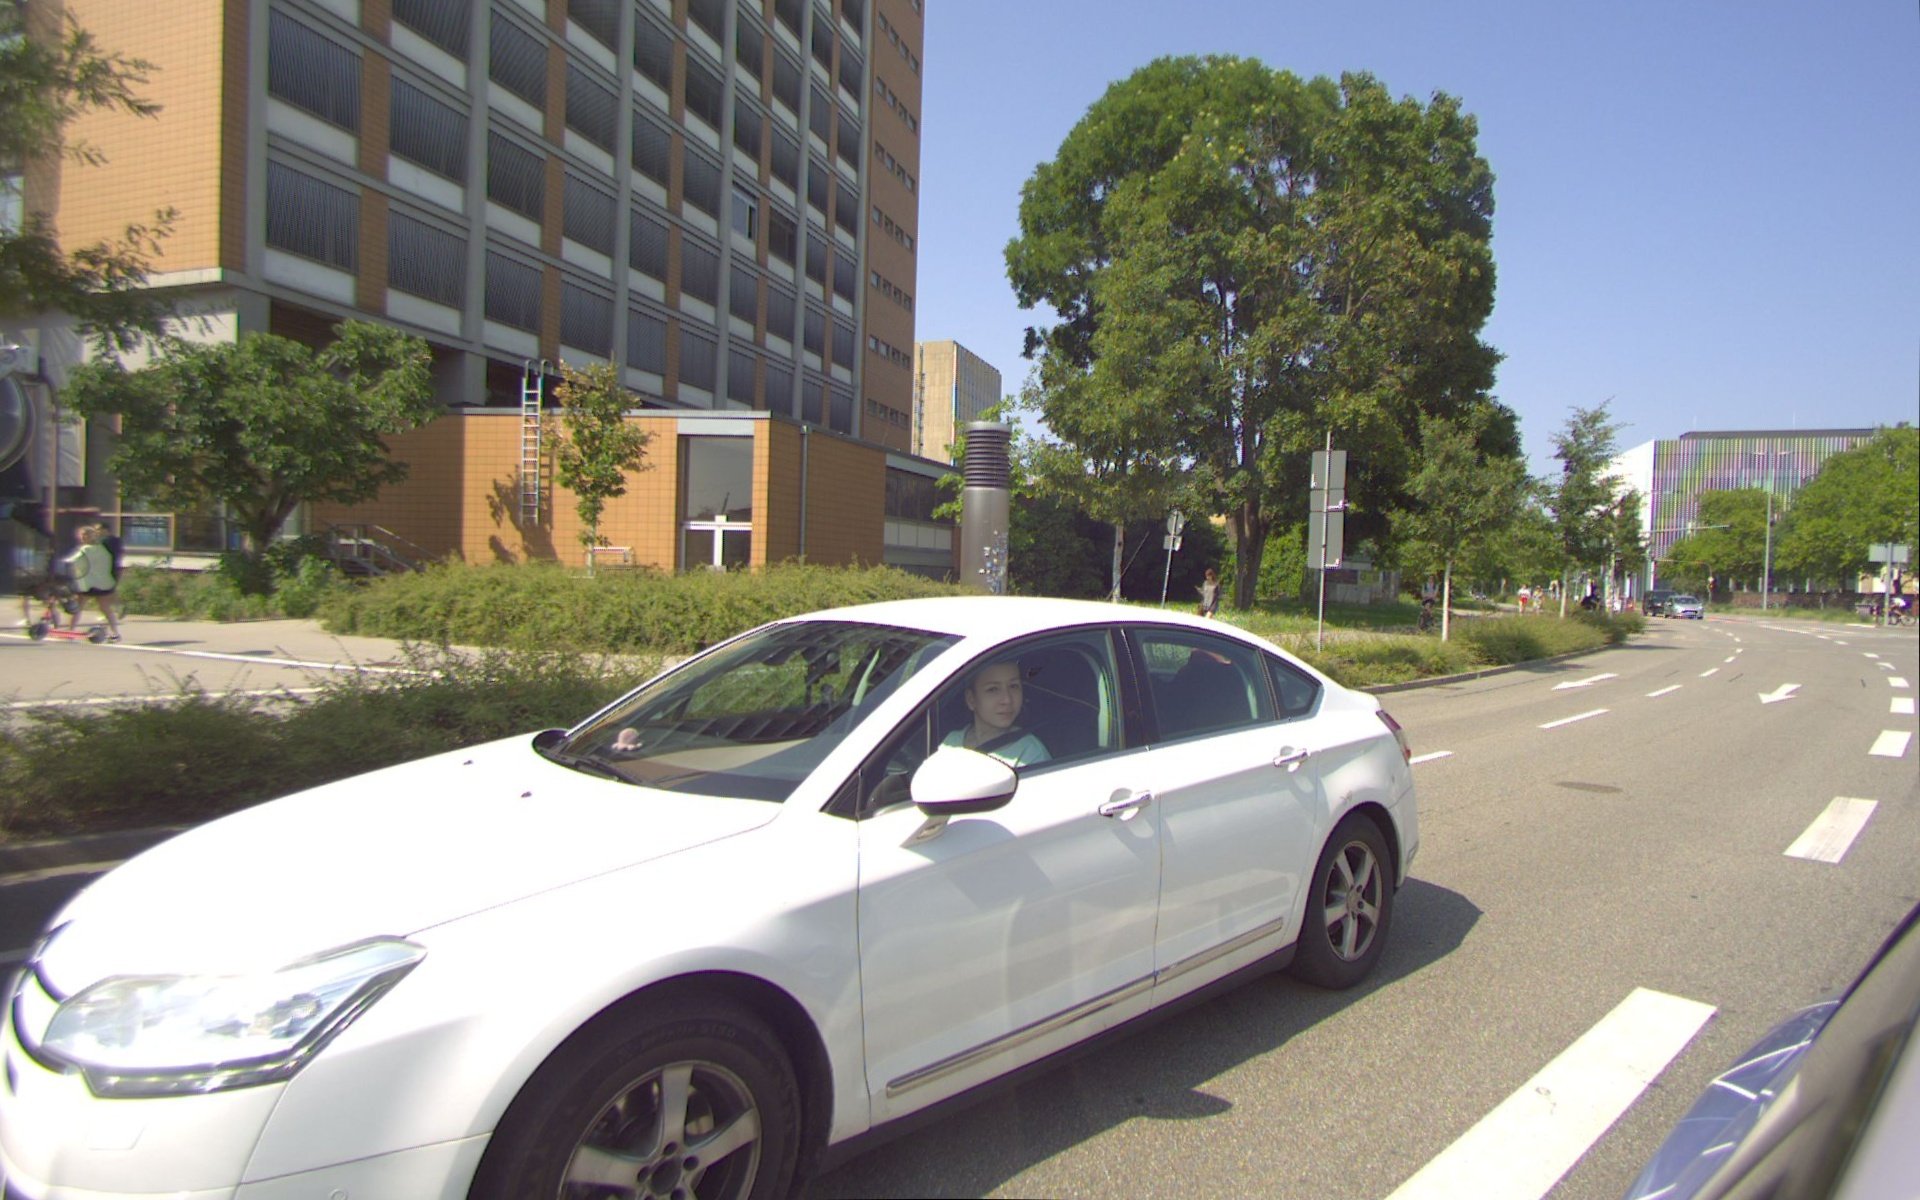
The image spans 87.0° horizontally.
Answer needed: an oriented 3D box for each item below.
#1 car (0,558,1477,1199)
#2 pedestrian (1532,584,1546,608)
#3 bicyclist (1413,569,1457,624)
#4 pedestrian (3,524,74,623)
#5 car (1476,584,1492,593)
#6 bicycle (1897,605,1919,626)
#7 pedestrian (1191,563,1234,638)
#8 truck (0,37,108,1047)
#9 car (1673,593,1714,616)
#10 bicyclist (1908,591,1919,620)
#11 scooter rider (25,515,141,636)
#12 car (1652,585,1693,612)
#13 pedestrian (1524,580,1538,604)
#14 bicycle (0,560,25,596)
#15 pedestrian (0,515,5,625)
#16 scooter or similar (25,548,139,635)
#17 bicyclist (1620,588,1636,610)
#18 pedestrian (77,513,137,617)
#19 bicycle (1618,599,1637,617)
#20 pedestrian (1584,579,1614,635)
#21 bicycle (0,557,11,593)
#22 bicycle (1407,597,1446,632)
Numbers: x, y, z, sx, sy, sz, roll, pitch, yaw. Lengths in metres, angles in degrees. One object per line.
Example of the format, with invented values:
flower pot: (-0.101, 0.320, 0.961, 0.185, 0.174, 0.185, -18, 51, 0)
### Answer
car: (-0.164, 0.645, 3.454, 4.527, 1.446, 1.773, 0, 2, -40)
pedestrian: (31.298, -0.205, 54.705, 0.610, 1.315, 0.434, 0, 0, 23)
bicyclist: (14.384, -0.113, 30.637, 0.909, 1.625, 0.903, 0, 1, -43)
pedestrian: (-16.260, -0.479, 17.855, 0.829, 1.695, 0.672, 2, 2, 25)
car: (102.799, -2.266, 198.513, 1.848, 1.549, 4.510, 2, 2, 17)
bicycle: (52.680, 0.870, 55.230, 2.260, 1.090, 0.649, 3, 2, 43)
pedestrian: (5.907, 0.000, 23.655, 0.669, 1.720, 0.794, 2, 1, 40)
truck: (-6.270, -0.193, 2.139, 6.737, 3.174, 2.497, 0, 0, -39)
car: (49.675, 0.290, 68.626, 1.644, 1.550, 4.489, 0, 0, 28)
bicyclist: (52.576, 0.290, 55.334, 1.013, 1.570, 0.708, 2, 1, 43)
scooter rider: (-13.220, -0.364, 15.286, 1.020, 1.780, 0.860, 0, 0, -1)
car: (52.804, -0.145, 75.114, 1.874, 1.943, 4.490, 1, 1, 28)
pedestrian: (30.889, -0.435, 54.755, 0.627, 1.315, 0.483, 0, 0, 22)
bicycle: (-23.228, -0.520, 23.715, 0.543, 0.849, 1.888, 2, 2, 23)
pedestrian: (-16.735, -0.520, 17.022, 0.826, 1.862, 0.674, 2, 2, 19)
scooter or similar: (-13.214, -0.129, 15.248, 1.155, 1.295, 0.651, 0, 0, 0)
bicyclist: (45.046, -0.075, 68.206, 1.032, 1.417, 0.678, 0, 1, -45)
pedestrian: (-15.933, -0.660, 18.910, 0.831, 1.894, 0.622, 2, 2, 31)
bicycle: (44.934, 0.529, 68.121, 2.199, 1.183, 0.593, 0, 2, -45)
pedestrian: (22.496, 0.234, 35.612, 0.818, 1.926, 0.622, 2, 1, 37)
bicycle: (-23.861, -0.598, 24.035, 0.543, 0.849, 1.888, 2, 2, 23)
bicycle: (13.952, 0.421, 30.274, 1.751, 0.992, 0.357, 0, 1, -41)
